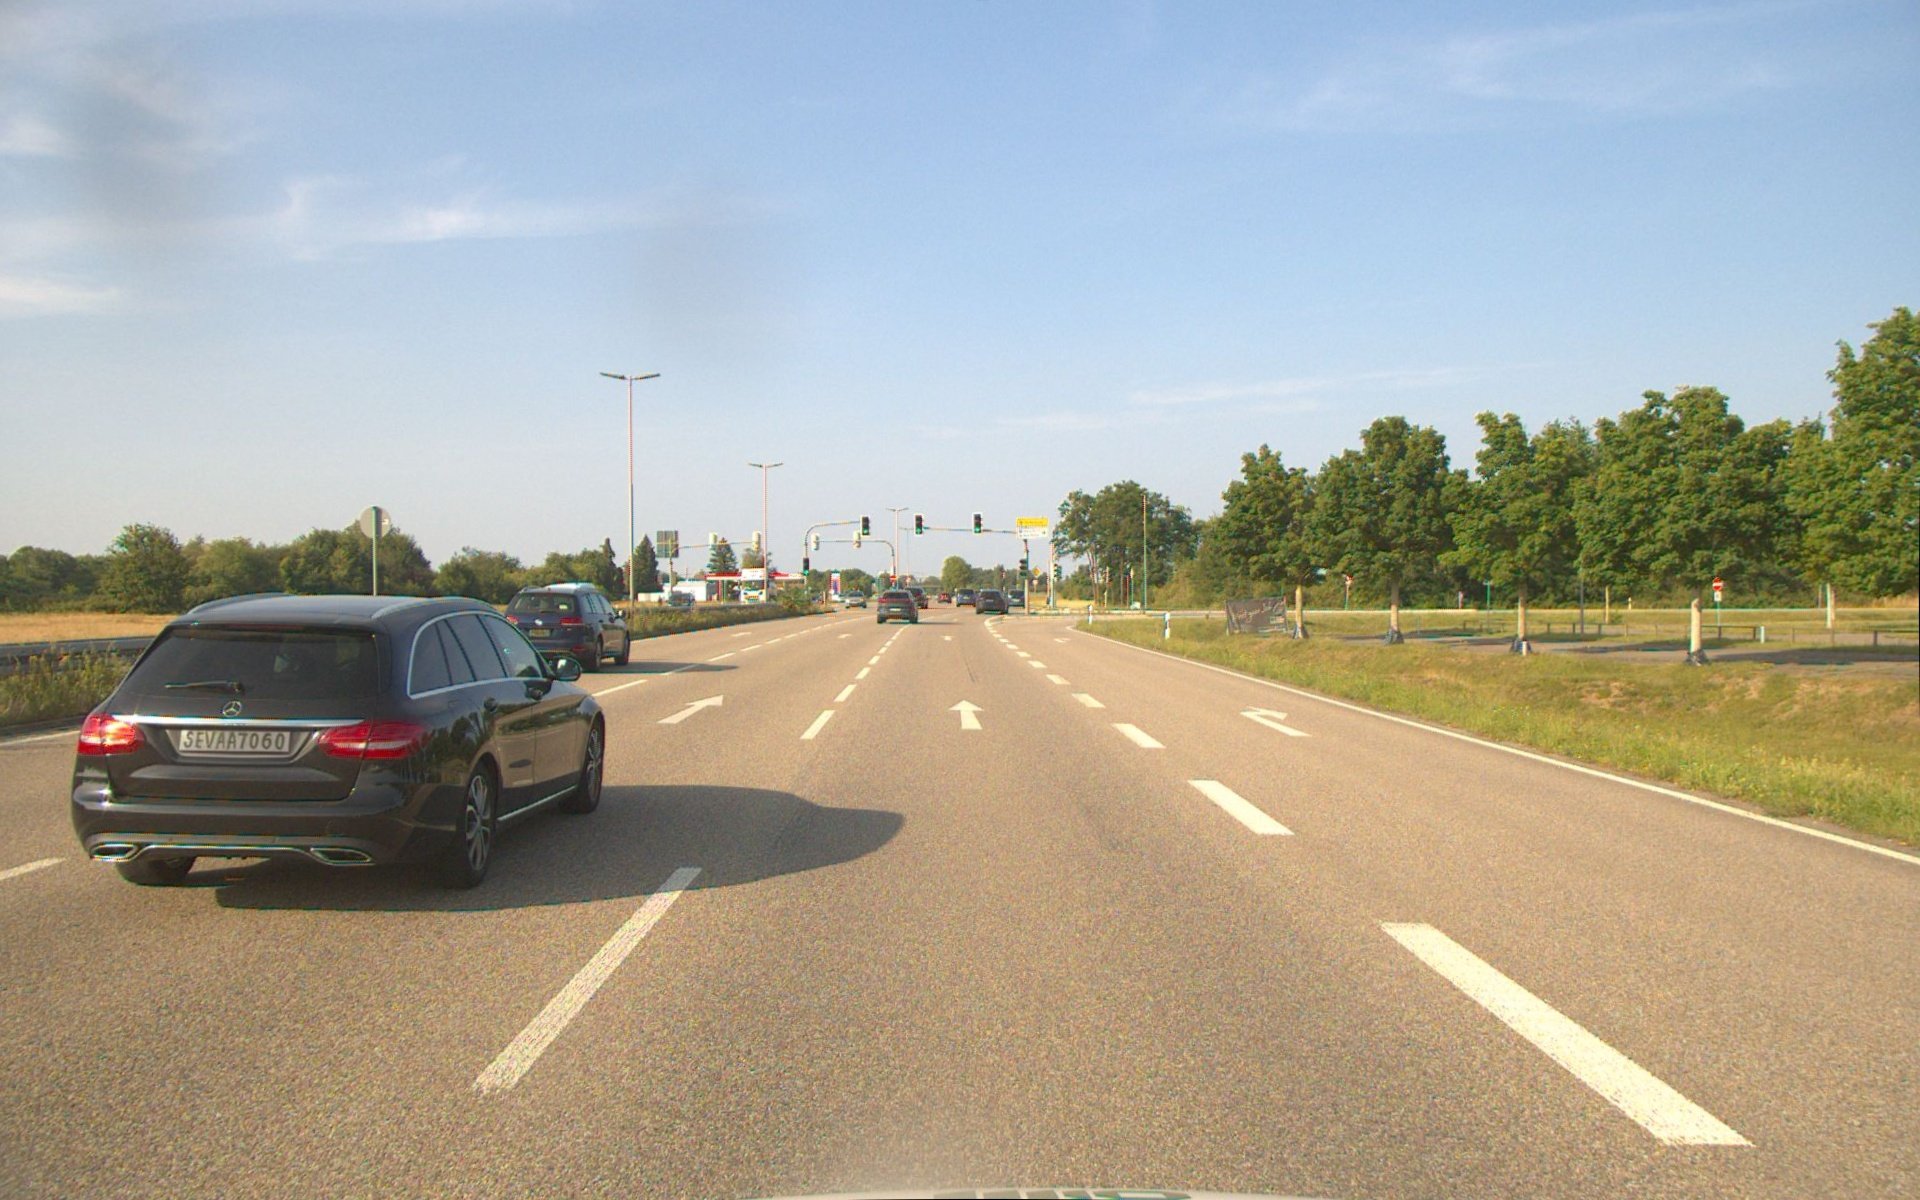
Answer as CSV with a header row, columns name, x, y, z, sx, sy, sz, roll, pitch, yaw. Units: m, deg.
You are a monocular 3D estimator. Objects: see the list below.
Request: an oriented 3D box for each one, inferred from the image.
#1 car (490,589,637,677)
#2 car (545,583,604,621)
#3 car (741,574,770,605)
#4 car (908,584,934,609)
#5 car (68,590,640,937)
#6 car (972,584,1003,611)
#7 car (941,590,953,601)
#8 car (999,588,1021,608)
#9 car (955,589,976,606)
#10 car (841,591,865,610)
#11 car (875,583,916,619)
name,x,y,z,sx,sy,sz,roll,pitch,yaw
car,-7.192,0.543,30.417,1.613,1.497,4.775,0,0,-1
car,-14.478,0.064,62.265,1.490,1.386,3.443,0,0,-1
car,-19.350,-1.009,156.852,2.225,2.902,5.248,0,0,-1
car,-3.058,-0.278,129.918,1.953,1.915,3.999,1,0,-1
car,-3.107,0.692,9.675,1.540,1.497,5.022,0,0,-1
car,1.810,-0.183,110.916,1.893,1.709,4.400,2,0,-1
car,-1.909,-0.685,243.372,1.776,1.488,3.806,2,0,-1
car,4.328,-0.206,144.148,1.713,1.645,3.757,2,0,-1
car,0.458,-0.246,148.006,1.776,1.488,4.400,2,0,-1
car,-9.262,0.013,143.566,1.567,1.559,4.001,2,0,2
car,-3.086,0.021,79.811,1.808,1.640,4.400,2,0,-1
